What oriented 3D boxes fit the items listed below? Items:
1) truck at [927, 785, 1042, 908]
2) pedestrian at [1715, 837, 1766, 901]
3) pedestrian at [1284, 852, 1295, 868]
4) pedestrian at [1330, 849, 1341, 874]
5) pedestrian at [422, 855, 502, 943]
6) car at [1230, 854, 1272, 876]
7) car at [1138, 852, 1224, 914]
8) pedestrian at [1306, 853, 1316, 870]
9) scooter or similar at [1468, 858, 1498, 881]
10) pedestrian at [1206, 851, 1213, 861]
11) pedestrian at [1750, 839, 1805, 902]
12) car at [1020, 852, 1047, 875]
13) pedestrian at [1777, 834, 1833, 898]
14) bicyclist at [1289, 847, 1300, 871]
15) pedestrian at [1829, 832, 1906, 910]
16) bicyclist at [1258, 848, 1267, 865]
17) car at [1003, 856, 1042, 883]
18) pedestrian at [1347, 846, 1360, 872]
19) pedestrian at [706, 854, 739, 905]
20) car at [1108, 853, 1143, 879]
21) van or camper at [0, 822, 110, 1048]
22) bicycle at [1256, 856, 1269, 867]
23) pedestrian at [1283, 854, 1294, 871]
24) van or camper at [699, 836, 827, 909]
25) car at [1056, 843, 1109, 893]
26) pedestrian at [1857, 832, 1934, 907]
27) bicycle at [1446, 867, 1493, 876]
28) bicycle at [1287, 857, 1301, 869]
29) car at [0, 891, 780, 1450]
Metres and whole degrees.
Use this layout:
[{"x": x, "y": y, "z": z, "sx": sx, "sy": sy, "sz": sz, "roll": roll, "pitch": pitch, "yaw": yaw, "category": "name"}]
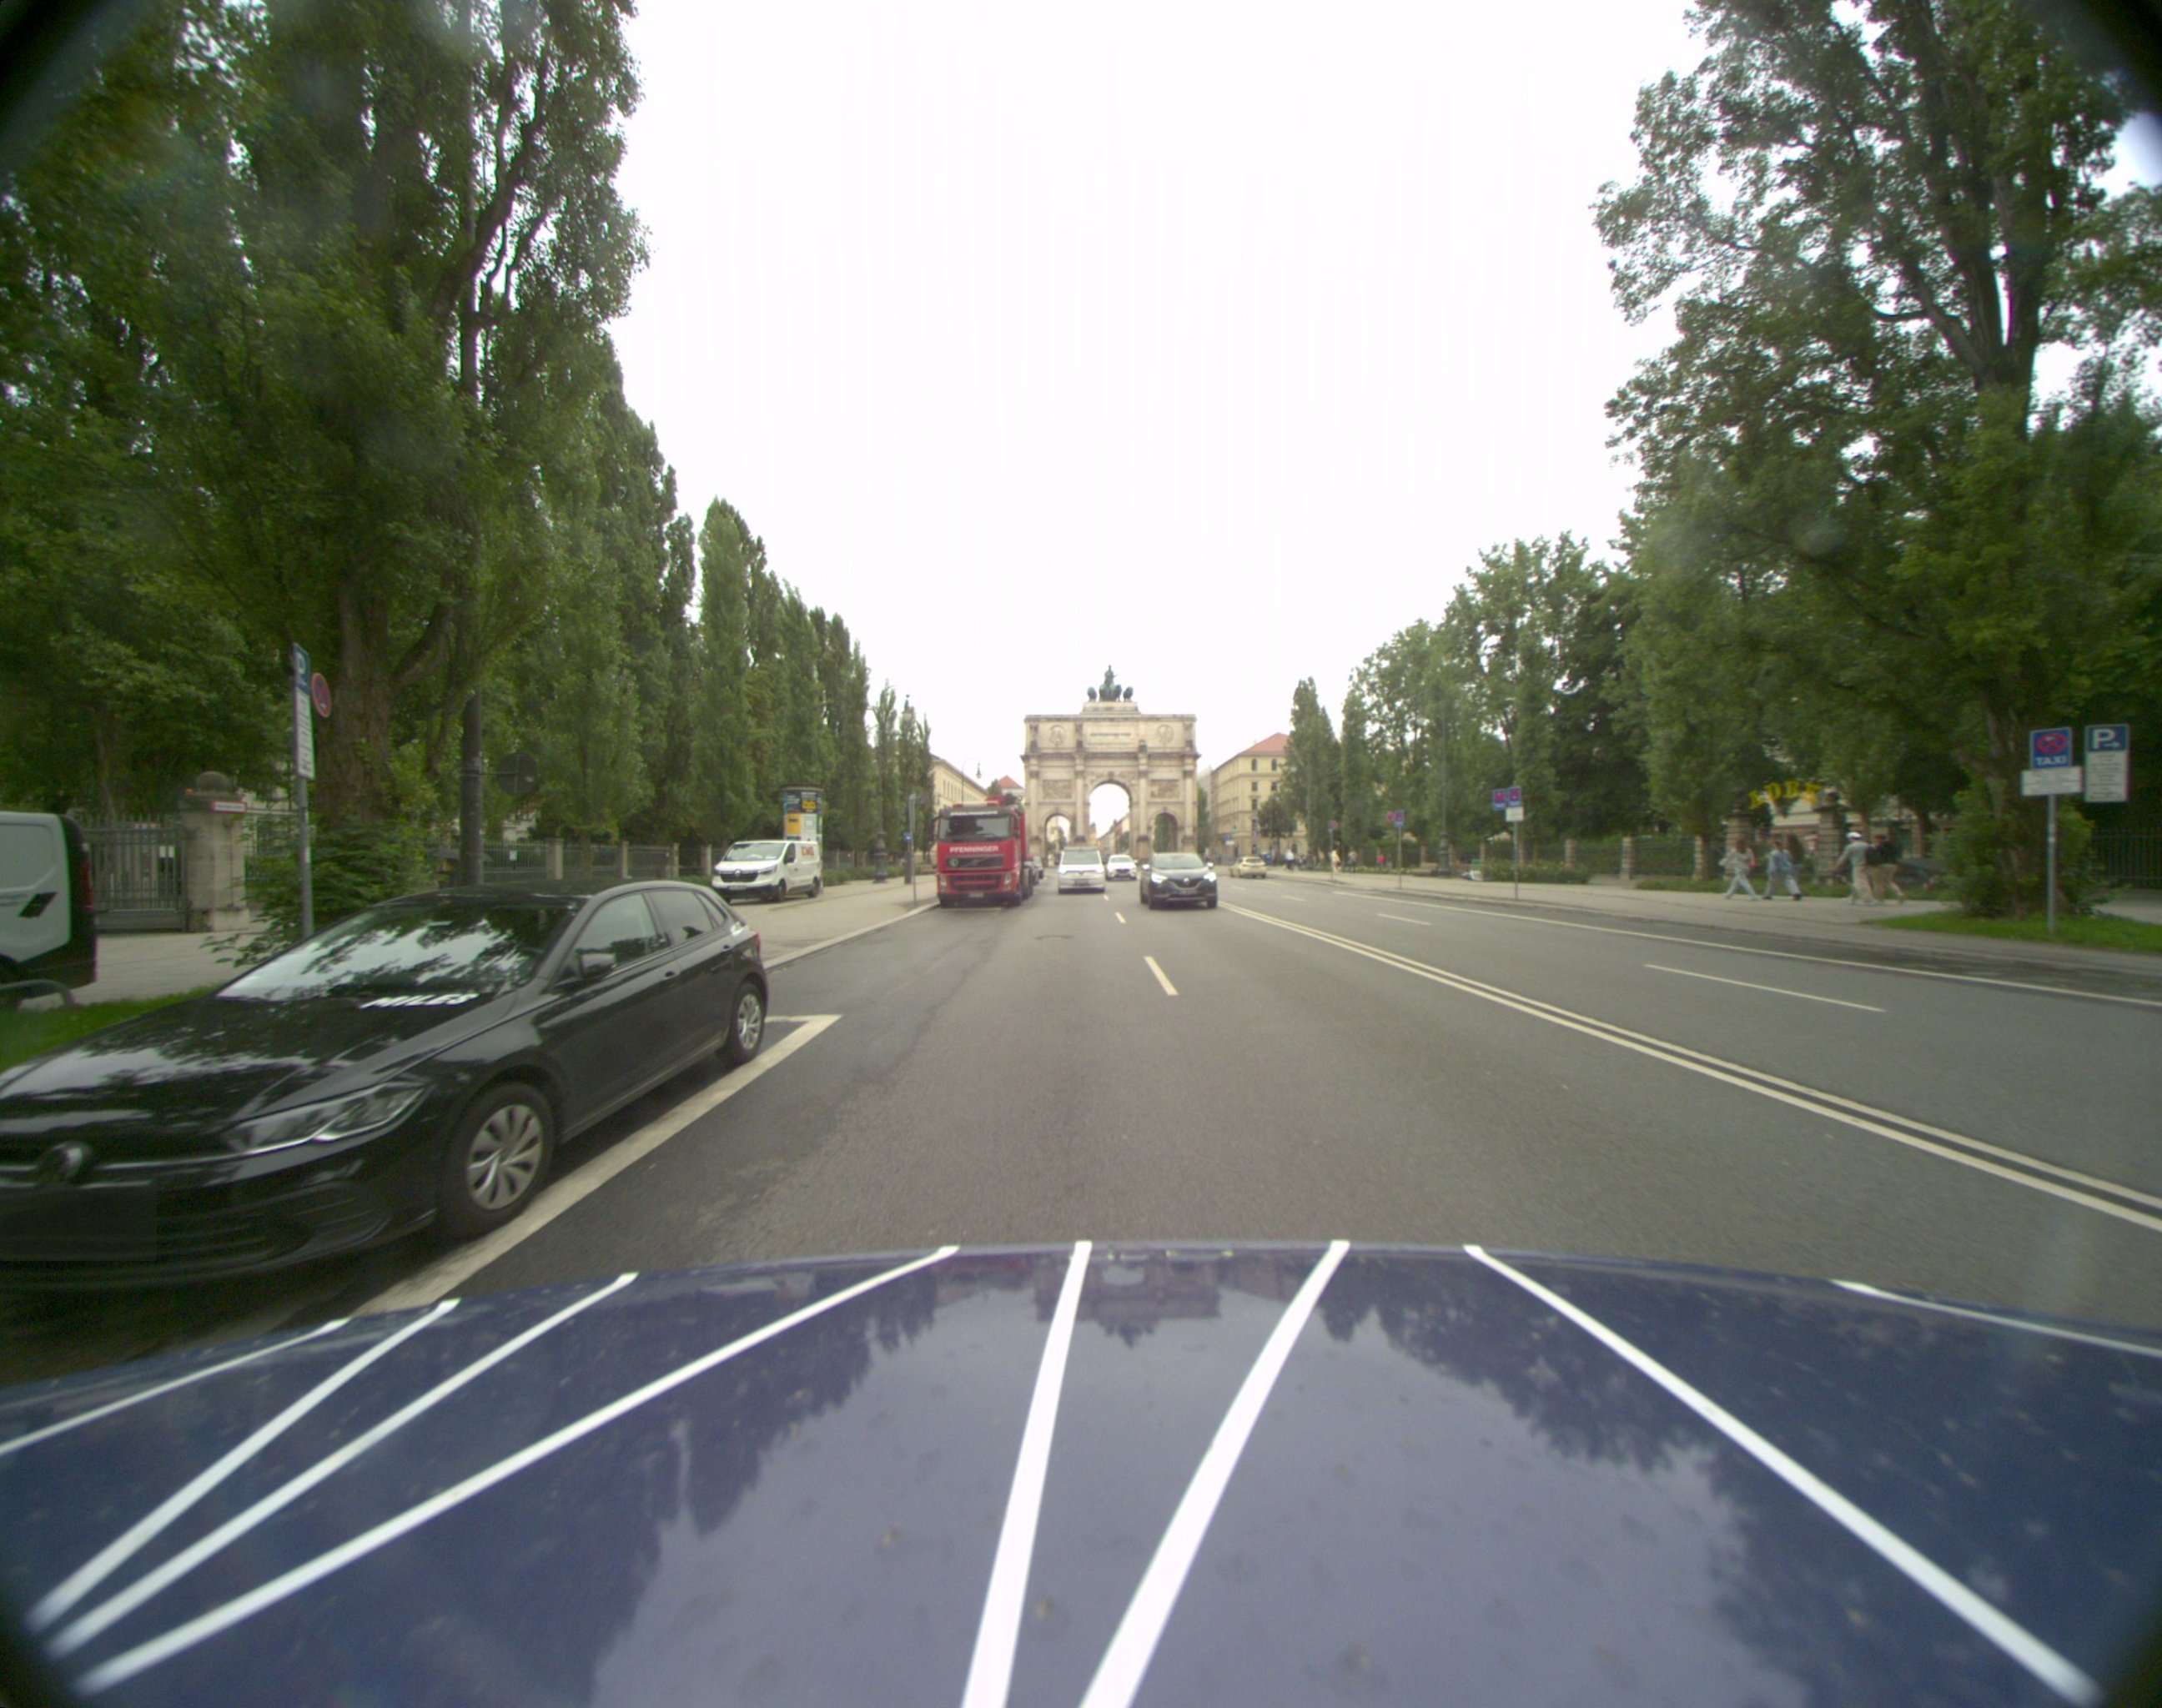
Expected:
[{"x": -3.106, "y": -0.230, "z": 27.415, "sx": 2.852, "sy": 3.543, "sz": 10.278, "roll": -1, "pitch": 0, "yaw": -1, "category": "truck"}, {"x": 18.312, "y": 0.402, "z": 21.111, "sx": 0.631, "sy": 1.737, "sz": 0.908, "roll": 0, "pitch": 0, "yaw": 0, "category": "pedestrian"}, {"x": 22.765, "y": 0.680, "z": 82.892, "sx": 0.958, "sy": 1.708, "sz": 1.032, "roll": -2, "pitch": 1, "yaw": 22, "category": "pedestrian"}, {"x": 17.622, "y": 0.509, "z": 52.658, "sx": 0.533, "sy": 1.720, "sz": 0.583, "roll": -1, "pitch": 1, "yaw": -11, "category": "pedestrian"}, {"x": -11.548, "y": 0.822, "z": 14.196, "sx": 0.774, "sy": 1.599, "sz": 0.840, "roll": -1, "pitch": 0, "yaw": 3, "category": "pedestrian"}, {"x": 11.682, "y": 0.781, "z": 52.503, "sx": 1.797, "sy": 1.328, "sz": 4.470, "roll": 0, "pitch": -2, "yaw": -2, "category": "car"}, {"x": 2.787, "y": 0.744, "z": 22.008, "sx": 1.840, "sy": 1.576, "sz": 4.184, "roll": -2, "pitch": 0, "yaw": -1, "category": "car"}, {"x": 26.075, "y": 0.878, "z": 86.236, "sx": 0.990, "sy": 1.860, "sz": 1.031, "roll": -2, "pitch": 1, "yaw": 11, "category": "pedestrian"}, {"x": 21.215, "y": 0.796, "z": 40.094, "sx": 0.747, "sy": 1.171, "sz": 1.415, "roll": 1, "pitch": 0, "yaw": -4, "category": "scooter or similar"}, {"x": 22.867, "y": 0.391, "z": 135.271, "sx": 1.032, "sy": 1.812, "sz": 0.882, "roll": 0, "pitch": 1, "yaw": 8, "category": "pedestrian"}, {"x": 19.108, "y": 0.448, "z": 20.861, "sx": 0.689, "sy": 1.690, "sz": 0.885, "roll": 0, "pitch": 0, "yaw": 0, "category": "pedestrian"}, {"x": -3.439, "y": 0.676, "z": 55.028, "sx": 1.847, "sy": 1.597, "sz": 4.366, "roll": -1, "pitch": 0, "yaw": -4, "category": "car"}, {"x": 19.822, "y": 0.328, "z": 20.824, "sx": 0.661, "sy": 1.706, "sz": 0.911, "roll": 0, "pitch": 0, "yaw": 0, "category": "pedestrian"}, {"x": 16.384, "y": 0.371, "z": 58.388, "sx": 0.591, "sy": 1.812, "sz": 0.661, "roll": -2, "pitch": 1, "yaw": -2, "category": "bicyclist"}, {"x": 19.225, "y": 0.401, "z": 18.597, "sx": 0.711, "sy": 1.823, "sz": 1.092, "roll": -2, "pitch": 1, "yaw": -1, "category": "pedestrian"}, {"x": 16.539, "y": 0.230, "z": 69.185, "sx": 0.647, "sy": 1.583, "sz": 0.661, "roll": -2, "pitch": 1, "yaw": -2, "category": "bicyclist"}, {"x": -3.154, "y": 0.814, "z": 41.794, "sx": 1.847, "sy": 1.383, "sz": 4.438, "roll": -1, "pitch": 0, "yaw": -1, "category": "car"}, {"x": 17.918, "y": 0.342, "z": 49.957, "sx": 0.533, "sy": 1.720, "sz": 0.583, "roll": -1, "pitch": 1, "yaw": -11, "category": "pedestrian"}, {"x": -12.032, "y": 0.839, "z": 25.543, "sx": 0.718, "sy": 1.684, "sz": 0.755, "roll": -1, "pitch": 1, "yaw": 0, "category": "pedestrian"}, {"x": 2.753, "y": 0.718, "z": 46.292, "sx": 1.909, "sy": 1.516, "sz": 4.010, "roll": -1, "pitch": 0, "yaw": 6, "category": "car"}, {"x": -10.191, "y": 0.719, "z": 4.644, "sx": 1.980, "sy": 1.922, "sz": 5.037, "roll": -2, "pitch": 0, "yaw": 0, "category": "van or camper"}, {"x": 16.544, "y": 0.643, "z": 69.257, "sx": 0.674, "sy": 0.947, "sz": 1.913, "roll": -2, "pitch": 0, "yaw": -1, "category": "bicycle"}, {"x": 21.236, "y": 0.851, "z": 77.883, "sx": 0.959, "sy": 1.708, "sz": 1.031, "roll": -2, "pitch": 1, "yaw": 13, "category": "pedestrian"}, {"x": -9.877, "y": 0.522, "z": 24.129, "sx": 2.009, "sy": 2.002, "sz": 4.985, "roll": -2, "pitch": 0, "yaw": -1, "category": "van or camper"}, {"x": 0.113, "y": 0.532, "z": 32.816, "sx": 2.064, "sy": 1.916, "sz": 5.728, "roll": -1, "pitch": 0, "yaw": 1, "category": "car"}, {"x": 19.962, "y": 0.364, "z": 18.649, "sx": 0.711, "sy": 1.762, "sz": 1.092, "roll": -2, "pitch": 1, "yaw": -1, "category": "pedestrian"}, {"x": 22.810, "y": 1.012, "z": 44.620, "sx": 2.219, "sy": 0.450, "sz": 1.339, "roll": -1, "pitch": -1, "yaw": -22, "category": "bicycle"}, {"x": 16.388, "y": 0.681, "z": 58.433, "sx": 0.470, "sy": 0.947, "sz": 1.913, "roll": -2, "pitch": 0, "yaw": -1, "category": "bicycle"}, {"x": -3.281, "y": 1.027, "z": 4.205, "sx": 1.680, "sy": 1.412, "sz": 3.999, "roll": -1, "pitch": 0, "yaw": -1, "category": "car"}]
